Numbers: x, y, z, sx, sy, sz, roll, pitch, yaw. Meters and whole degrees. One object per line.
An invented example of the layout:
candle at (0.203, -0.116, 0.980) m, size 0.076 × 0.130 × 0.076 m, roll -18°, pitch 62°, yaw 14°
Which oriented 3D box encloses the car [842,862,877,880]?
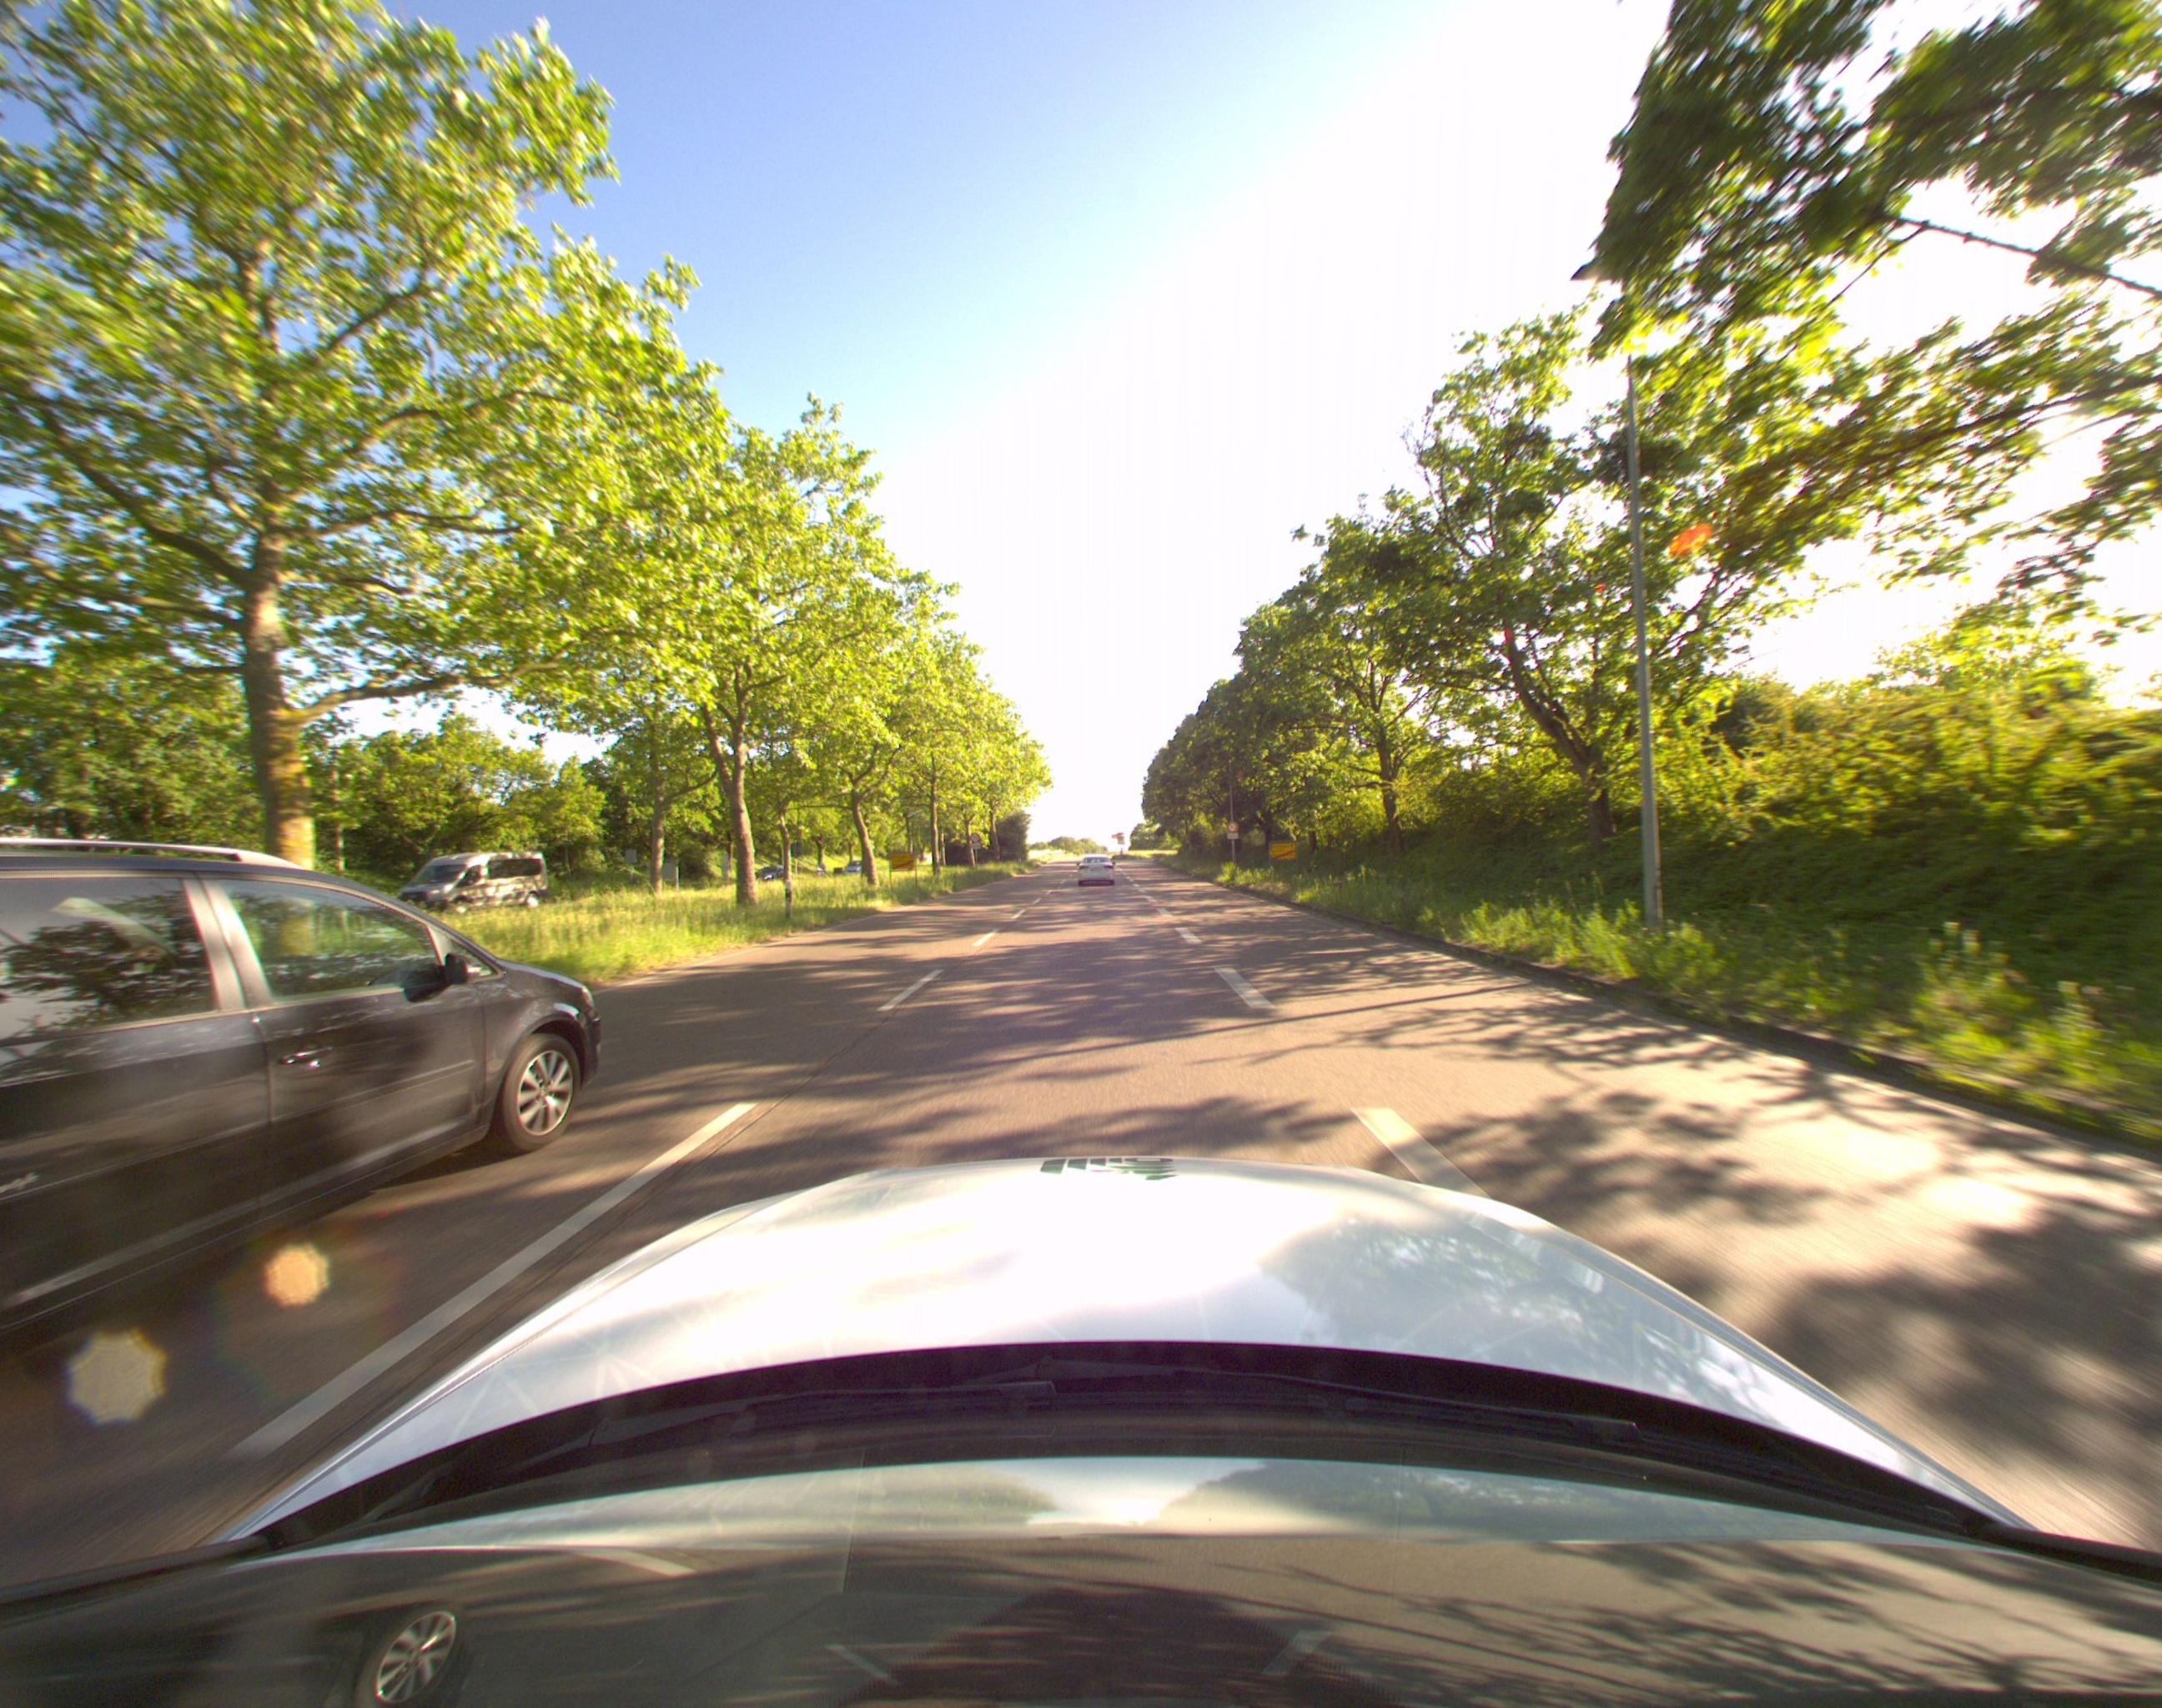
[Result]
car at (-19.786, 1.503, 72.815) m, size 1.761 × 1.464 × 4.368 m, roll -2°, pitch 0°, yaw 2°

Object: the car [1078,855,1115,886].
car at (0.804, 0.796, 41.177) m, size 1.761 × 1.464 × 4.368 m, roll -2°, pitch 0°, yaw 2°

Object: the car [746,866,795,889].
car at (-22.741, 1.686, 59.763) m, size 1.761 × 1.464 × 4.368 m, roll -2°, pitch 0°, yaw 2°

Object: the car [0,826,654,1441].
car at (-3.761, 0.764, 2.928) m, size 1.761 × 1.644 × 4.924 m, roll -1°, pitch -1°, yaw 1°

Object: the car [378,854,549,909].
car at (-23.945, 0.988, 31.970) m, size 2.127 × 1.901 × 5.744 m, roll -2°, pitch 0°, yaw 2°
